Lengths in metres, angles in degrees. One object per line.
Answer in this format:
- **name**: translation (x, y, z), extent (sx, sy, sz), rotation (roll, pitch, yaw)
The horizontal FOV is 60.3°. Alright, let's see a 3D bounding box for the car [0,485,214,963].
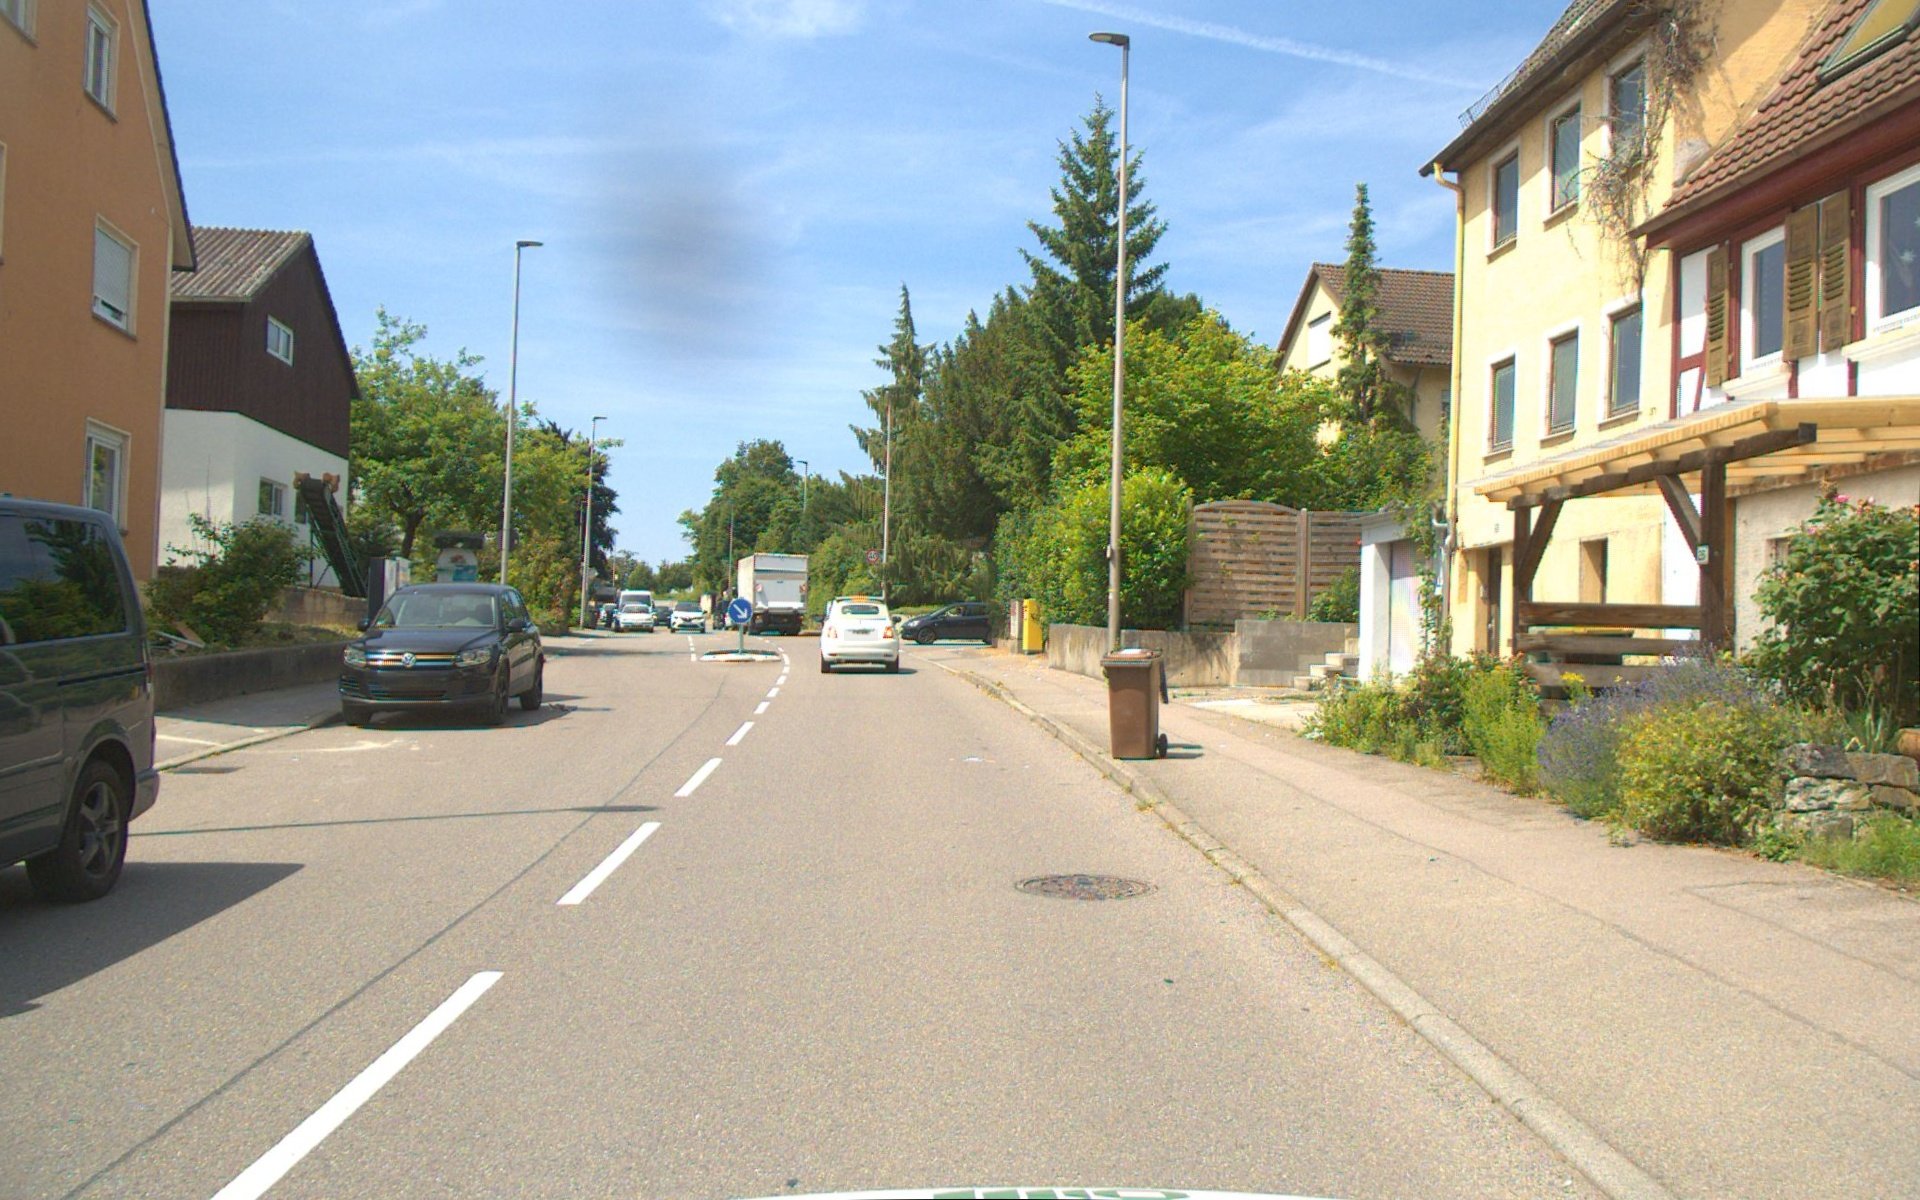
- **car**: translation (-4.872, 0.517, 6.541), extent (1.853, 1.971, 4.982), rotation (-1, 0, -4)

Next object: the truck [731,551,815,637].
- **truck**: translation (-8.994, -0.226, 78.787), extent (3.016, 3.840, 7.839), rotation (0, -1, -14)

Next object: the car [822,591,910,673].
- **car**: translation (-2.023, 0.654, 34.857), extent (1.691, 1.587, 3.996), rotation (2, 0, -5)

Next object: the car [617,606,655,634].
- **car**: translation (-16.726, 1.010, 85.324), extent (1.774, 1.422, 3.986), rotation (0, 0, -14)

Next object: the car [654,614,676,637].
- **car**: translation (-20.768, 1.787, 116.404), extent (1.454, 1.537, 2.793), rotation (0, 0, -11)

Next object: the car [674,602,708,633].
- **car**: translation (-14.069, 0.937, 86.556), extent (1.750, 1.556, 4.161), rotation (0, -1, -9)

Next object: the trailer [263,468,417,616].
- **trailer**: translation (-13.325, -1.147, 35.948), extent (1.680, 2.898, 6.164), rotation (1, 0, -7)

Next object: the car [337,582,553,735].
- **car**: translation (-6.177, 0.634, 20.295), extent (1.735, 1.664, 4.282), rotation (0, 0, -6)

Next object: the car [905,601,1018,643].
- **car**: translation (0.046, 0.776, 59.062), extent (3.859, 1.483, 1.655), rotation (0, 0, -8)

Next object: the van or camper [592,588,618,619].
- **van or camper**: translation (-36.395, 0.378, 169.785), extent (2.224, 3.014, 5.874), rotation (2, 0, -10)

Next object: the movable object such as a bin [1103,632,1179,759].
- **movable object such as a bin**: translation (1.586, 0.828, 14.459), extent (0.484, 1.051, 0.548), rotation (-3, 0, 20)
